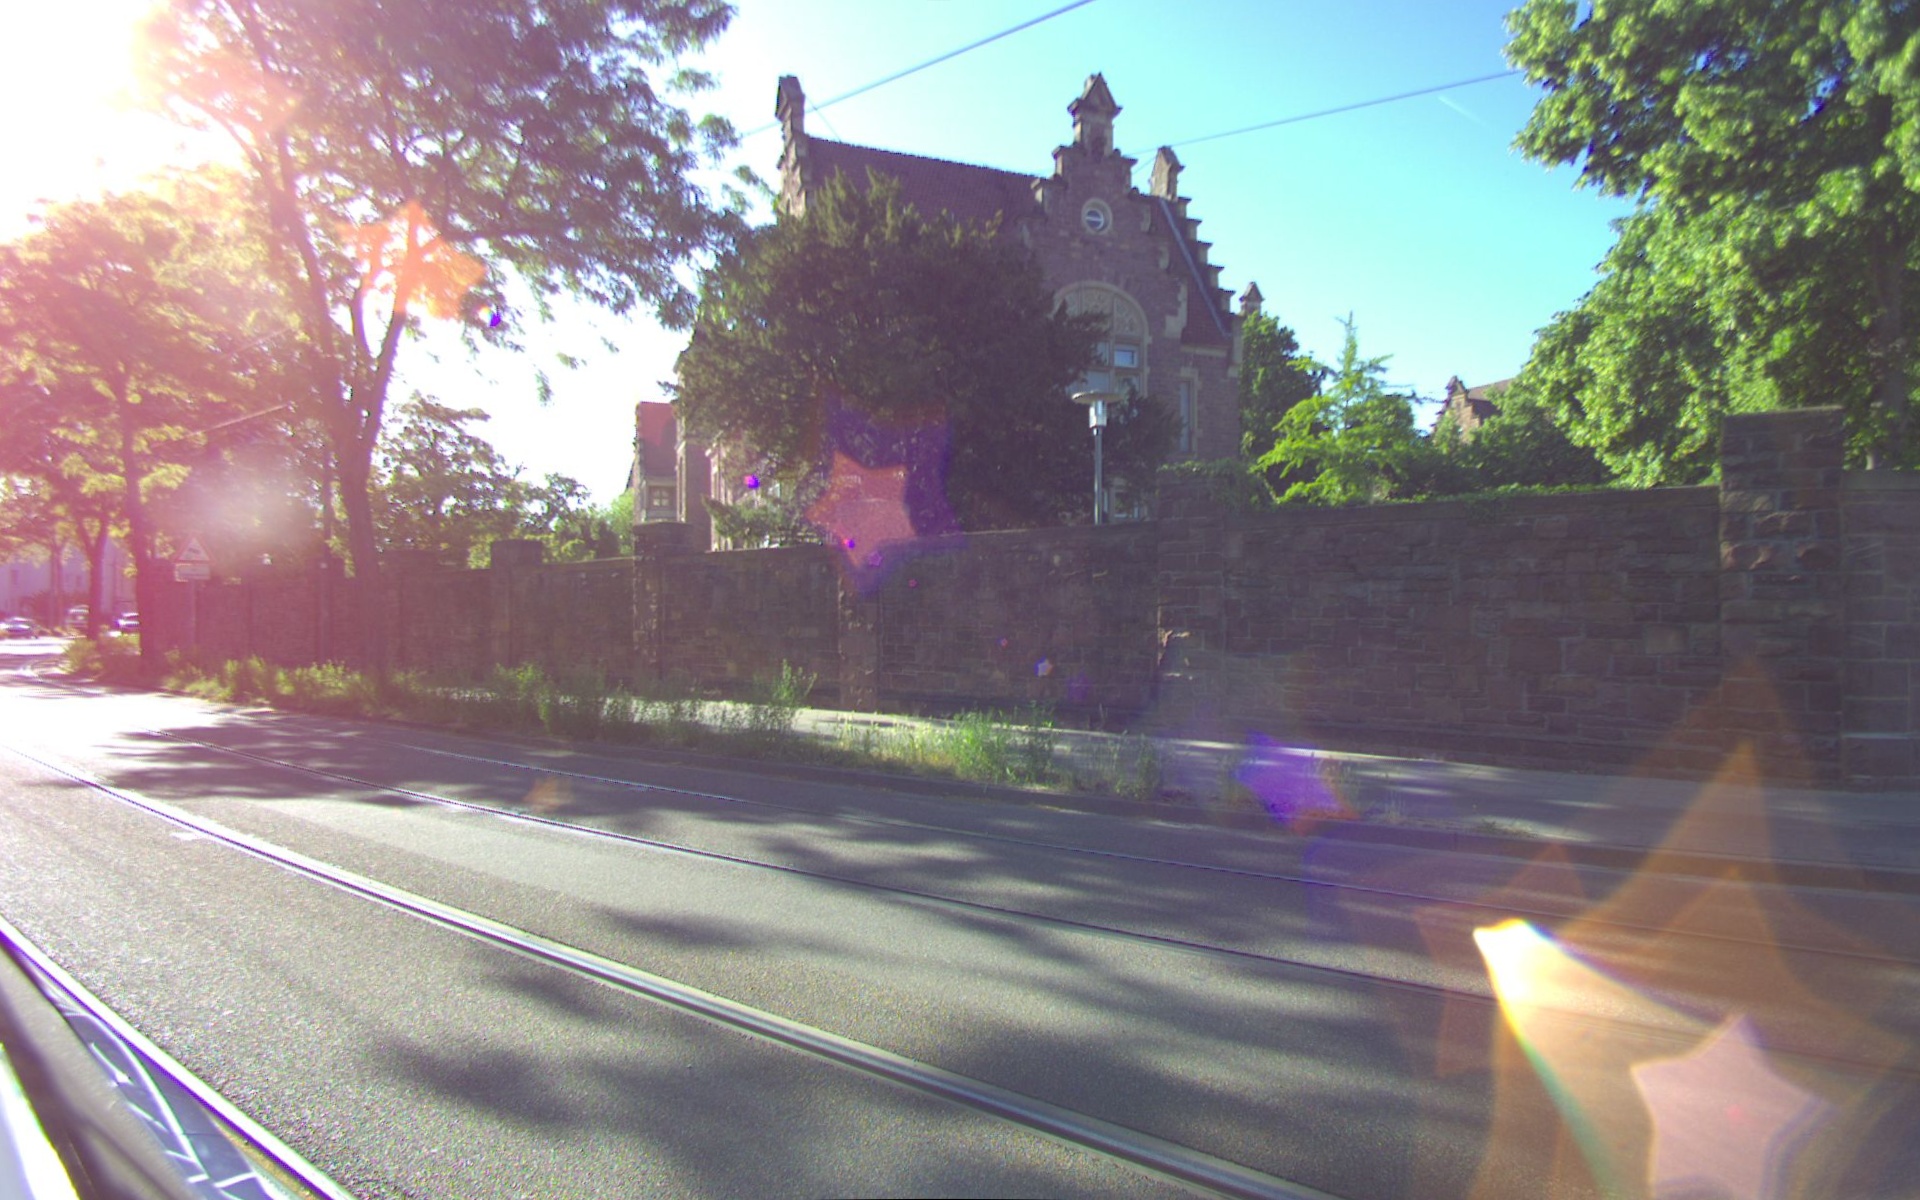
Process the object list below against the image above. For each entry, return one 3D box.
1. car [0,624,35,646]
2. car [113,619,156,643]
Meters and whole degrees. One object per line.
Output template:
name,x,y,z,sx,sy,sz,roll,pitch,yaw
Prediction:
car,-68.900,2.528,73.846,1.969,1.560,4.005,0,-1,-41
car,-68.121,2.537,83.549,1.846,1.830,4.983,0,-1,-29
